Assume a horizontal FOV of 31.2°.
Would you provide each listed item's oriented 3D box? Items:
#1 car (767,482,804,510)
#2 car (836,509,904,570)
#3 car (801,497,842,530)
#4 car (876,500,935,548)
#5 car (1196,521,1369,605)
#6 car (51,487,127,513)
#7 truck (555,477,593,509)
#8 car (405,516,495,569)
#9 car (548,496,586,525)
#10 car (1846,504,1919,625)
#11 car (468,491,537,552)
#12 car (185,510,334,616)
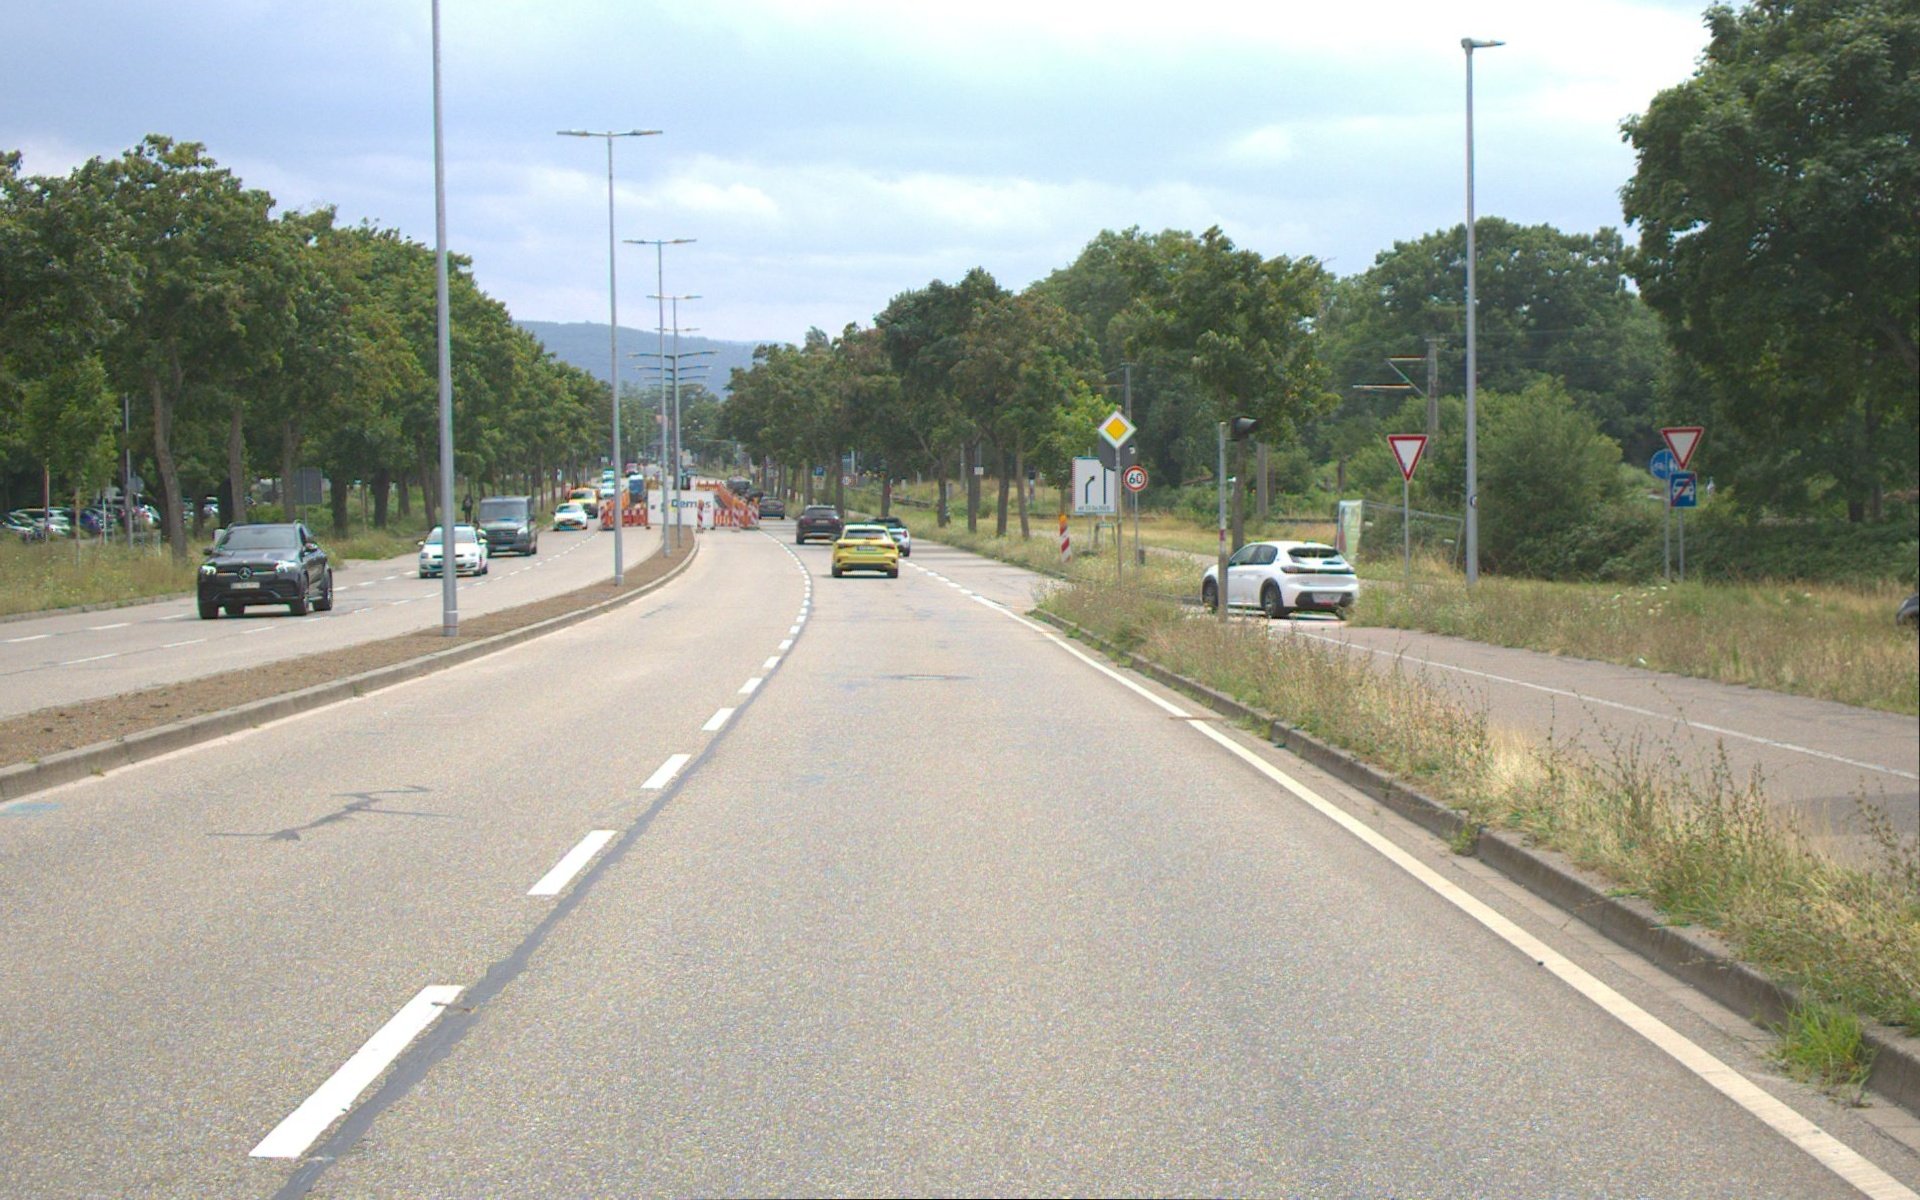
[{"bbox_3d":[-11.027,-6.570,217.266,2.206,1.678,4.001,0,3,-2],"label":"car"},{"bbox_3d":[-2.502,-1.683,94.527,1.793,1.556,4.001,0,3,-3],"label":"car"},{"bbox_3d":[-5.780,-3.615,143.253,1.667,1.265,4.001,0,3,-3],"label":"car"},{"bbox_3d":[-2.003,-2.774,124.927,2.013,1.664,4.001,0,3,-3],"label":"car"},{"bbox_3d":[6.086,-0.735,65.394,1.766,1.459,4.002,-1,3,-19],"label":"car"},{"bbox_3d":[-49.272,-5.670,194.549,3.772,1.421,1.966,0,2,-1],"label":"car"},{"bbox_3d":[-25.088,-6.984,223.700,2.088,1.987,6.040,-2,3,-3],"label":"truck"},{"bbox_3d":[-15.008,-1.701,101.358,1.993,1.426,4.689,-1,2,-1],"label":"car"},{"bbox_3d":[-21.186,-4.815,185.376,1.716,1.415,4.161,-2,3,-3],"label":"car"},{"bbox_3d":[14.717,-0.478,48.472,3.993,1.662,1.707,2,2,27],"label":"car"},{"bbox_3d":[-17.284,-2.999,130.116,2.095,2.193,6.005,-2,2,-3],"label":"car"},{"bbox_3d":[-13.255,-0.738,65.294,1.993,1.805,4.799,-1,3,-2],"label":"car"}]
